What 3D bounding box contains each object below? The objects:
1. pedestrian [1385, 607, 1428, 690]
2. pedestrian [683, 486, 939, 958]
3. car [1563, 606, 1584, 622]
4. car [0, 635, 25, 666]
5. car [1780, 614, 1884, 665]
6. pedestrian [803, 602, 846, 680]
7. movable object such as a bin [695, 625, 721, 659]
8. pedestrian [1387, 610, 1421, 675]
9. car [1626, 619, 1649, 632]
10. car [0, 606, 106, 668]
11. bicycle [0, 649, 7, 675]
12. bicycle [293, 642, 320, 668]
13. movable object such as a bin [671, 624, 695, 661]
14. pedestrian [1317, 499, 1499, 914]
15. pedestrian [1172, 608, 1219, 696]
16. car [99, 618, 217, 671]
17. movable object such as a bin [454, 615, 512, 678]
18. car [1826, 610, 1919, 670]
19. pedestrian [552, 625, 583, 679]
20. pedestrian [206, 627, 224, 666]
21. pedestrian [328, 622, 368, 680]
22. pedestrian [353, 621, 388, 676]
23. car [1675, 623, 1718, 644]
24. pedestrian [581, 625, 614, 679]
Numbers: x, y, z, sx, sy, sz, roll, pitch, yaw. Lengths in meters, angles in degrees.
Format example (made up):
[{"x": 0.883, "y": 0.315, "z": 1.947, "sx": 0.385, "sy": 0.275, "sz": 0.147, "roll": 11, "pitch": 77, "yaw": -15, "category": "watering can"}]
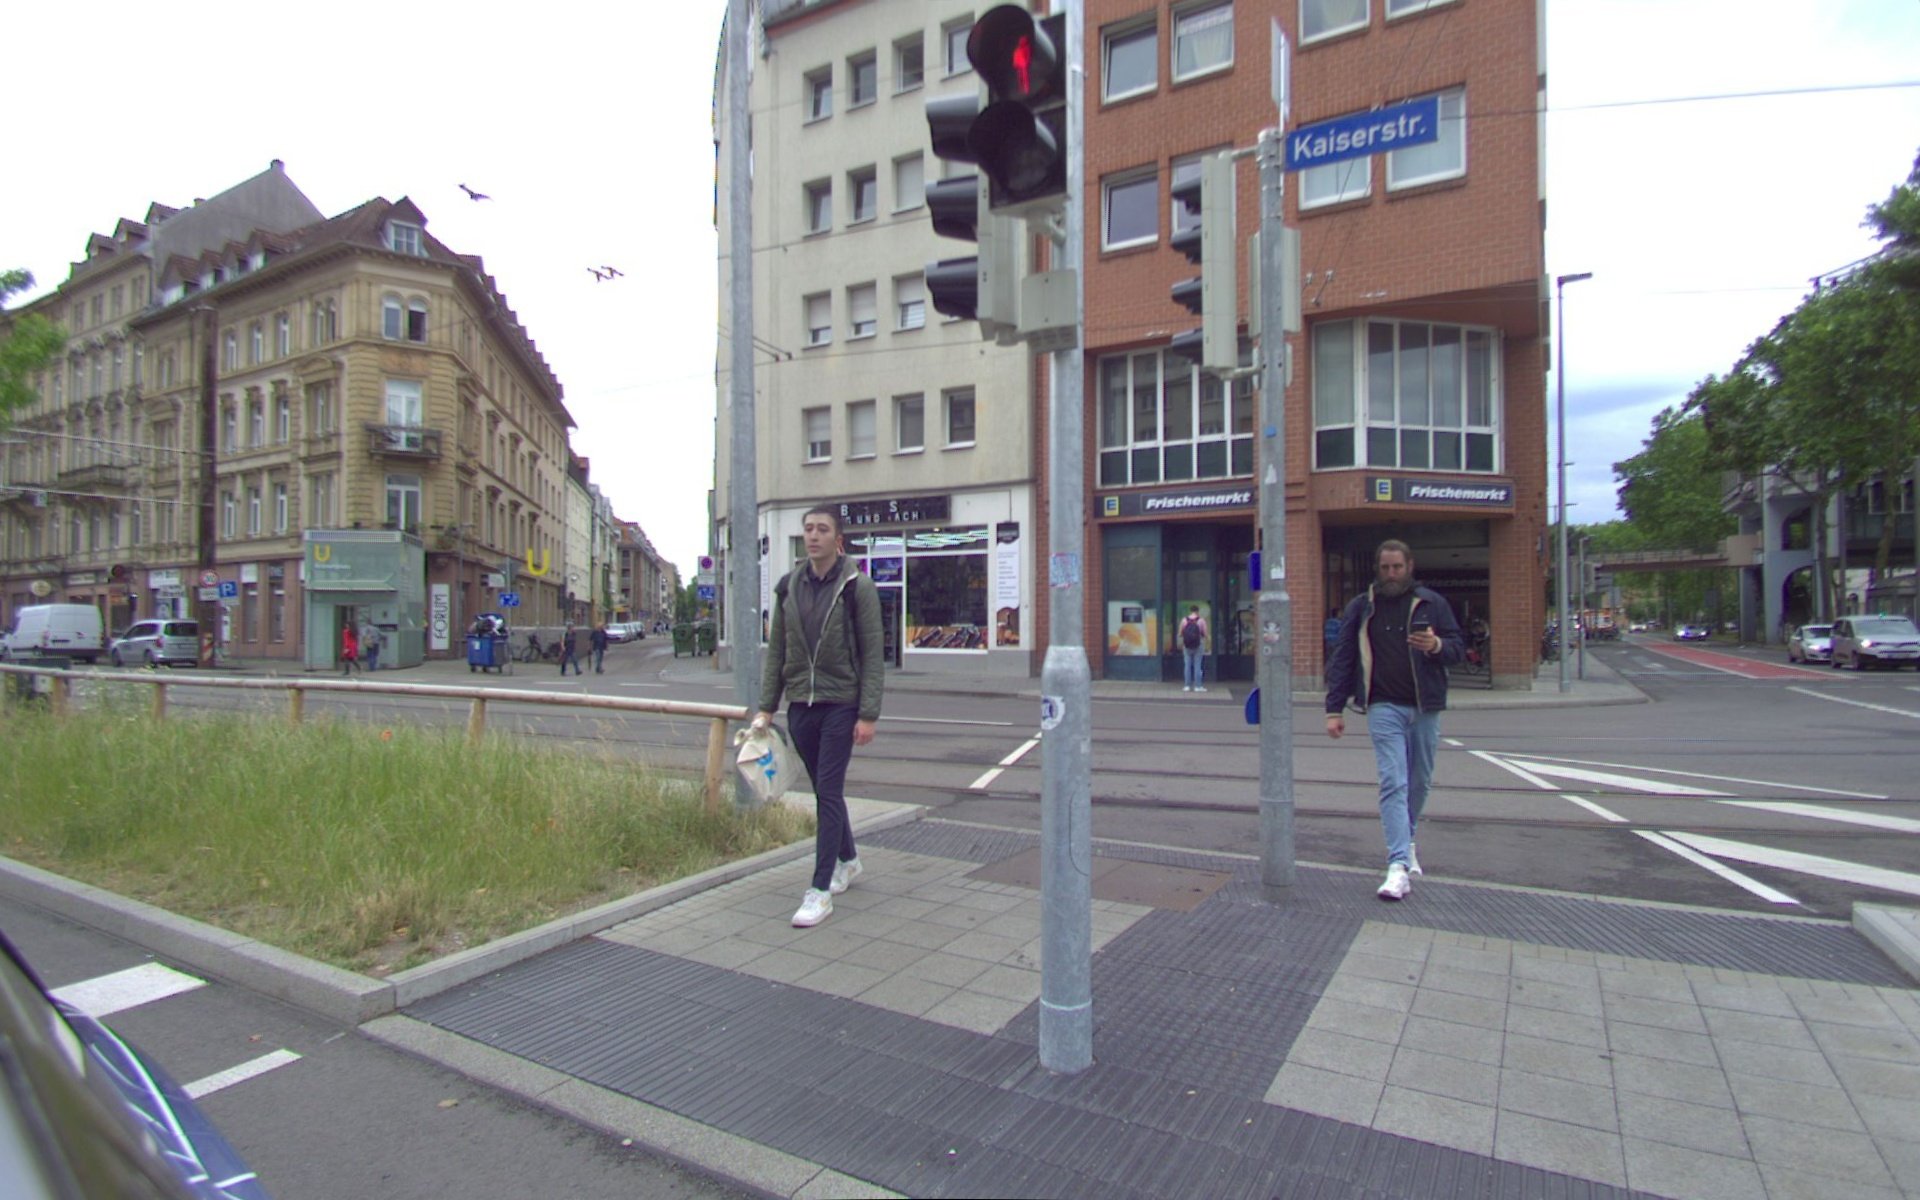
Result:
[{"x": 9.450, "y": 1.012, "z": 21.416, "sx": 0.795, "sy": 1.696, "sz": 0.739, "roll": 0, "pitch": 0, "yaw": 27, "category": "pedestrian"}, {"x": -0.661, "y": 0.489, "z": 4.667, "sx": 0.795, "sy": 1.904, "sz": 0.891, "roll": 0, "pitch": 0, "yaw": 29, "category": "pedestrian"}, {"x": 70.371, "y": 1.619, "z": 116.043, "sx": 1.922, "sy": 1.807, "sz": 3.665, "roll": -1, "pitch": -2, "yaw": 32, "category": "car"}, {"x": -45.882, "y": 2.349, "z": 47.474, "sx": 4.147, "sy": 1.434, "sz": 1.759, "roll": -1, "pitch": -4, "yaw": 30, "category": "car"}, {"x": 32.533, "y": 1.451, "z": 37.887, "sx": 1.917, "sy": 1.807, "sz": 3.965, "roll": -1, "pitch": -2, "yaw": 25, "category": "car"}, {"x": -3.024, "y": 0.903, "z": 22.597, "sx": 0.717, "sy": 1.700, "sz": 0.658, "roll": 0, "pitch": -1, "yaw": 19, "category": "pedestrian"}, {"x": -10.859, "y": 1.799, "z": 43.651, "sx": 0.993, "sy": 1.416, "sz": 1.243, "roll": -1, "pitch": -1, "yaw": -18, "category": "movable object such as a bin"}, {"x": 11.971, "y": 1.135, "z": 27.290, "sx": 0.795, "sy": 1.696, "sz": 0.739, "roll": 0, "pitch": 0, "yaw": 27, "category": "pedestrian"}, {"x": 82.672, "y": 3.125, "z": 123.511, "sx": 1.669, "sy": 1.559, "sz": 3.674, "roll": -1, "pitch": -2, "yaw": 25, "category": "car"}, {"x": -39.170, "y": 1.601, "z": 43.377, "sx": 5.643, "sy": 2.506, "sz": 2.038, "roll": -1, "pitch": -4, "yaw": 30, "category": "car"}, {"x": -38.360, "y": 2.435, "z": 39.972, "sx": 1.904, "sy": 1.029, "sz": 0.473, "roll": -1, "pitch": -2, "yaw": 30, "category": "bicycle"}, {"x": -25.072, "y": 2.095, "z": 38.825, "sx": 1.685, "sy": 0.966, "sz": 0.336, "roll": -1, "pitch": -1, "yaw": 38, "category": "bicycle"}, {"x": -11.874, "y": 1.807, "z": 43.340, "sx": 0.930, "sy": 1.512, "sz": 1.243, "roll": -1, "pitch": -1, "yaw": -18, "category": "movable object such as a bin"}, {"x": 2.272, "y": 0.492, "z": 5.118, "sx": 0.795, "sy": 1.904, "sz": 0.606, "roll": 0, "pitch": -1, "yaw": 29, "category": "pedestrian"}, {"x": 4.656, "y": 1.012, "z": 19.993, "sx": 0.795, "sy": 1.696, "sz": 0.566, "roll": 0, "pitch": 0, "yaw": 27, "category": "pedestrian"}, {"x": -30.054, "y": 1.686, "z": 37.907, "sx": 4.501, "sy": 1.879, "sz": 1.890, "roll": -1, "pitch": -4, "yaw": 30, "category": "car"}, {"x": -15.563, "y": 1.500, "z": 33.016, "sx": 1.615, "sy": 1.996, "sz": 1.021, "roll": 0, "pitch": -2, "yaw": 38, "category": "movable object such as a bin"}, {"x": 29.490, "y": 1.251, "z": 32.174, "sx": 1.917, "sy": 1.807, "sz": 3.965, "roll": -1, "pitch": -2, "yaw": 25, "category": "car"}, {"x": -12.470, "y": 1.646, "z": 32.172, "sx": 0.652, "sy": 1.700, "sz": 0.723, "roll": 2, "pitch": -2, "yaw": -44, "category": "pedestrian"}, {"x": -30.495, "y": 1.910, "z": 41.420, "sx": 0.547, "sy": 1.568, "sz": 0.658, "roll": 0, "pitch": -1, "yaw": -42, "category": "pedestrian"}, {"x": -18.177, "y": 1.499, "z": 30.060, "sx": 0.657, "sy": 1.700, "sz": 0.718, "roll": 0, "pitch": -1, "yaw": 20, "category": "pedestrian"}, {"x": -18.759, "y": 1.539, "z": 32.209, "sx": 0.812, "sy": 1.700, "sz": 0.724, "roll": 2, "pitch": -2, "yaw": -42, "category": "pedestrian"}, {"x": 56.574, "y": 2.587, "z": 77.826, "sx": 1.917, "sy": 1.575, "sz": 3.836, "roll": -1, "pitch": -2, "yaw": 25, "category": "car"}, {"x": -11.793, "y": 1.682, "z": 32.934, "sx": 0.652, "sy": 1.700, "sz": 0.924, "roll": 2, "pitch": -2, "yaw": -44, "category": "pedestrian"}]
